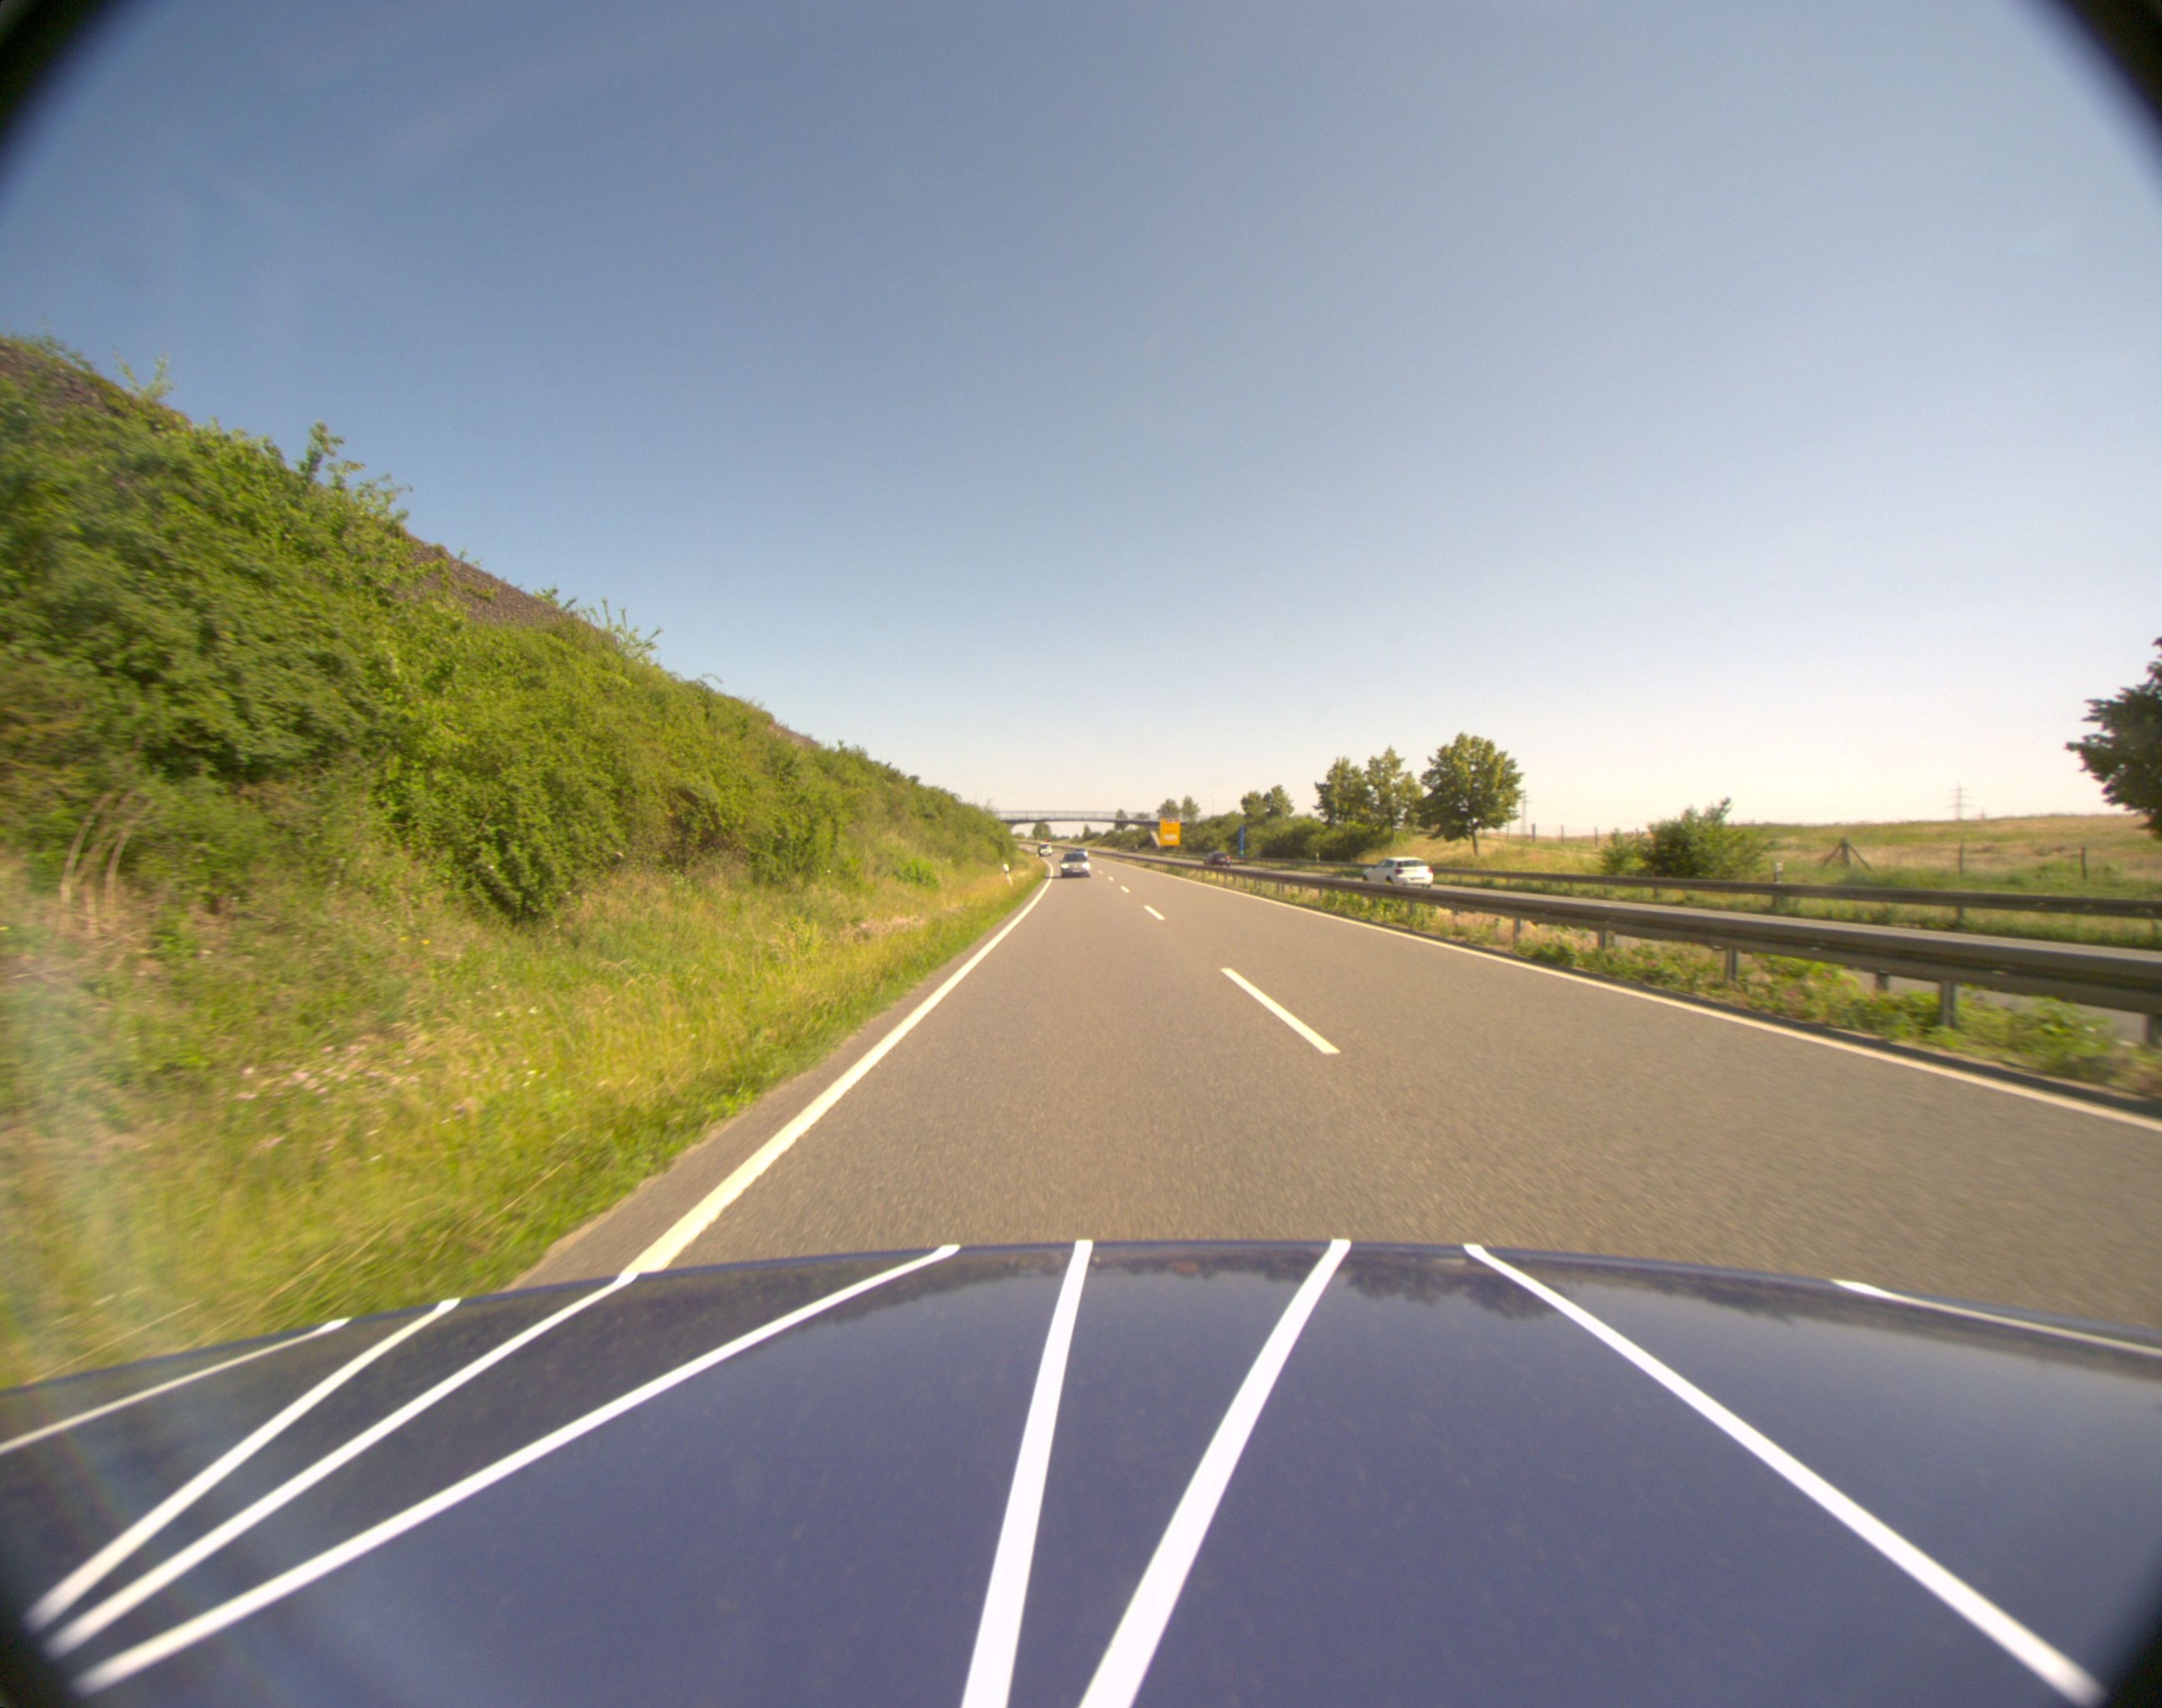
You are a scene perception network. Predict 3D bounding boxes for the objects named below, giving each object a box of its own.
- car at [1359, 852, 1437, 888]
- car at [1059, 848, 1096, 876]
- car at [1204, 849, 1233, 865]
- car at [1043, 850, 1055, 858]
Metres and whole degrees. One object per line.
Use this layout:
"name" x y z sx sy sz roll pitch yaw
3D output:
"car" 14.224 0.675 34.382 1.673 1.424 4.347 -2 1 0
"car" -0.158 0.470 47.710 1.853 1.635 4.001 -2 1 6
"car" 13.066 0.253 72.349 1.876 1.393 4.321 -2 1 0
"car" -5.136 0.003 121.669 1.791 1.212 3.998 0 2 -3
